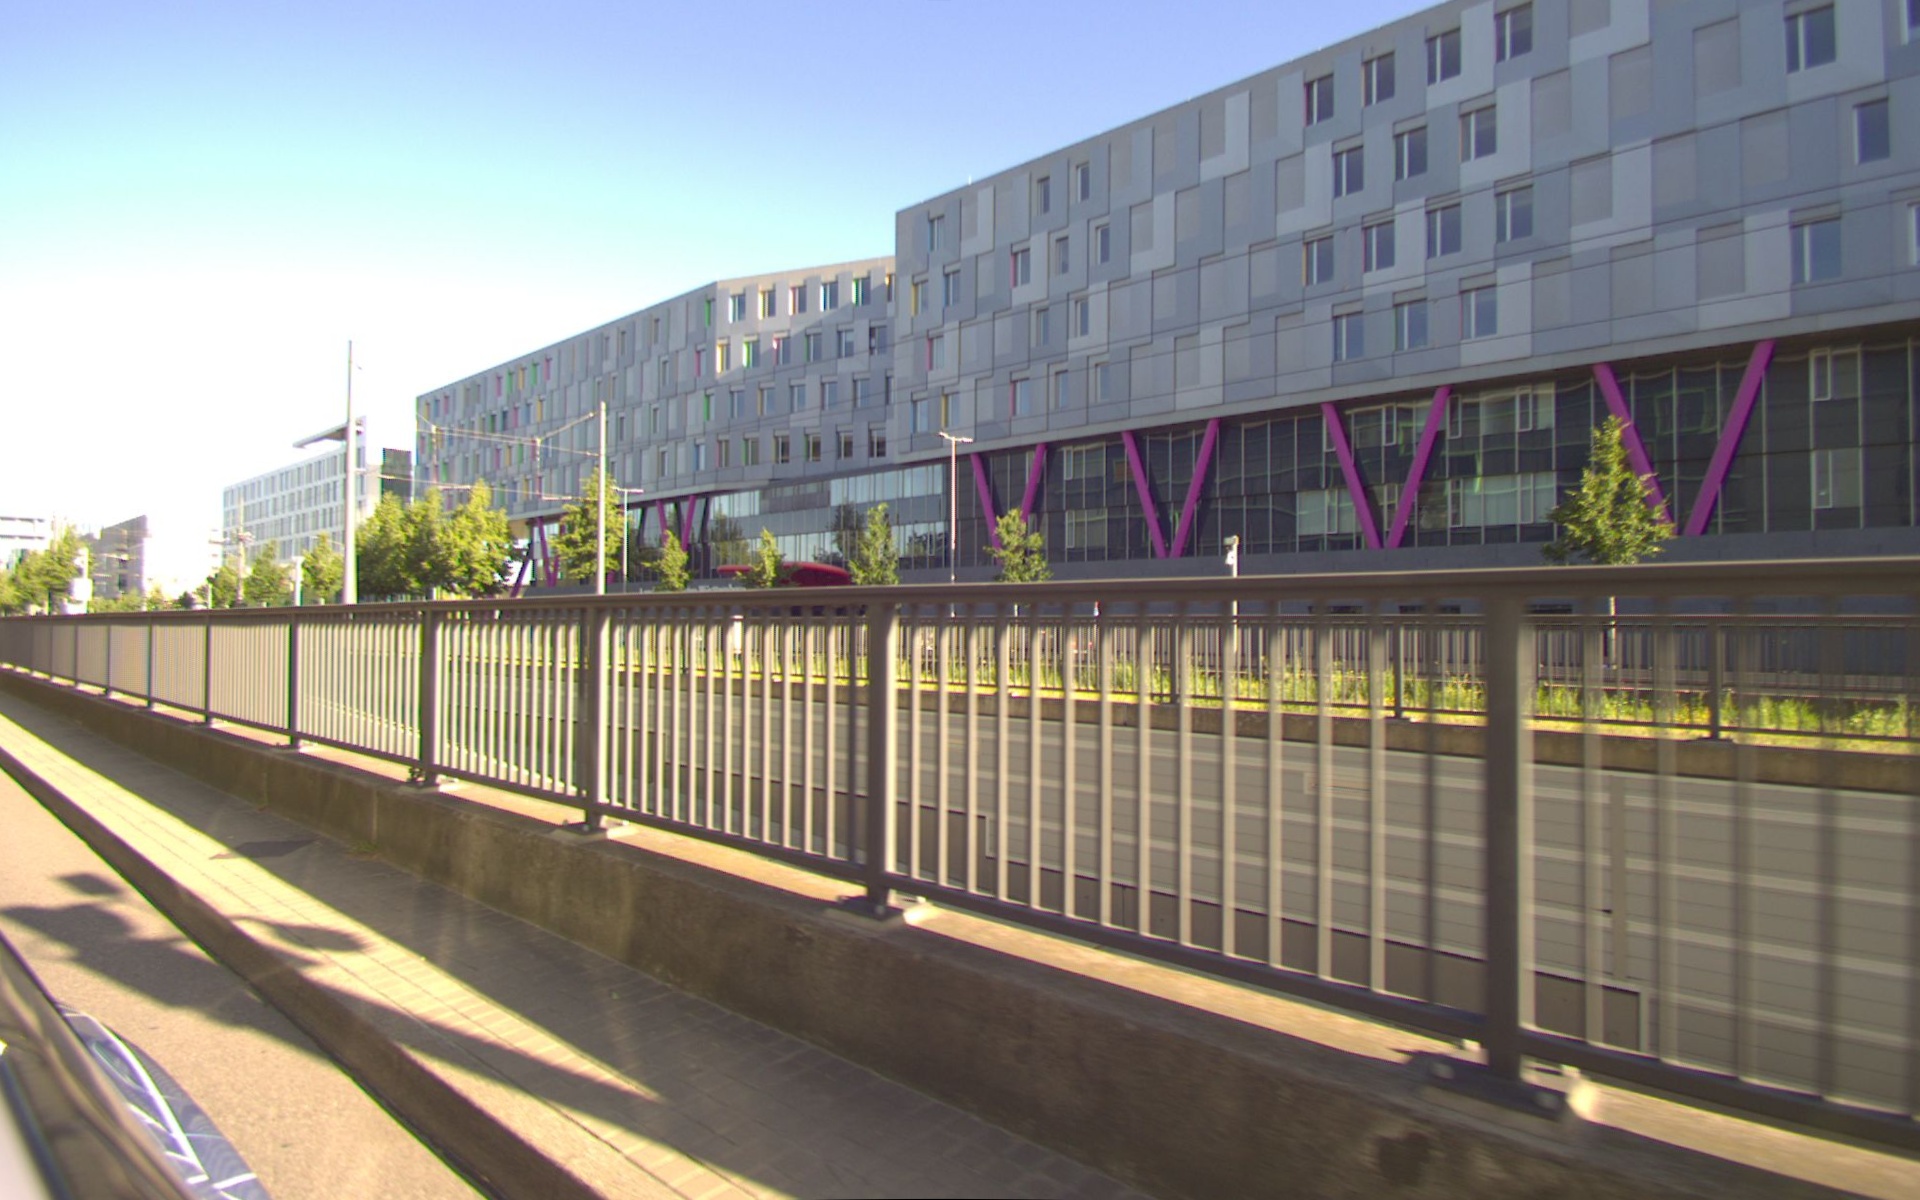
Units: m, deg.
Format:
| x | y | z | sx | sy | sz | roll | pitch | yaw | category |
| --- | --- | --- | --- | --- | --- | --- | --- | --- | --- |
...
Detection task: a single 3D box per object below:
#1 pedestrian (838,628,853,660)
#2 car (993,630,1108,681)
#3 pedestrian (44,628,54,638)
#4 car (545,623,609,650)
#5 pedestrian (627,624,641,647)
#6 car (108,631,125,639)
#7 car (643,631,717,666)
| x | y | z | sx | sy | sz | roll | pitch | yaw | category |
| --- | --- | --- | --- | --- | --- | --- | --- | --- | --- |
| -7.503 | 2.864 | 66.210 | 0.689 | 2.029 | 0.728 | -2 | -2 | 42 | pedestrian |
| 3.430 | 2.078 | 38.693 | 3.998 | 1.853 | 1.973 | -2 | -3 | 41 | car |
| -131.577 | 4.774 | 146.130 | 1.053 | 1.477 | 0.845 | 0 | -2 | -43 | pedestrian |
| -23.864 | 2.247 | 63.047 | 4.719 | 1.538 | 1.778 | -2 | -6 | 44 | car |
| -26.513 | 2.889 | 82.232 | 0.871 | 1.836 | 0.713 | -2 | -3 | 42 | pedestrian |
| -154.895 | 6.473 | 185.826 | 4.000 | 1.365 | 1.850 | -2 | 0 | 43 | car |
| -15.092 | 2.588 | 54.431 | 3.998 | 1.853 | 1.973 | -2 | -3 | 41 | car |
